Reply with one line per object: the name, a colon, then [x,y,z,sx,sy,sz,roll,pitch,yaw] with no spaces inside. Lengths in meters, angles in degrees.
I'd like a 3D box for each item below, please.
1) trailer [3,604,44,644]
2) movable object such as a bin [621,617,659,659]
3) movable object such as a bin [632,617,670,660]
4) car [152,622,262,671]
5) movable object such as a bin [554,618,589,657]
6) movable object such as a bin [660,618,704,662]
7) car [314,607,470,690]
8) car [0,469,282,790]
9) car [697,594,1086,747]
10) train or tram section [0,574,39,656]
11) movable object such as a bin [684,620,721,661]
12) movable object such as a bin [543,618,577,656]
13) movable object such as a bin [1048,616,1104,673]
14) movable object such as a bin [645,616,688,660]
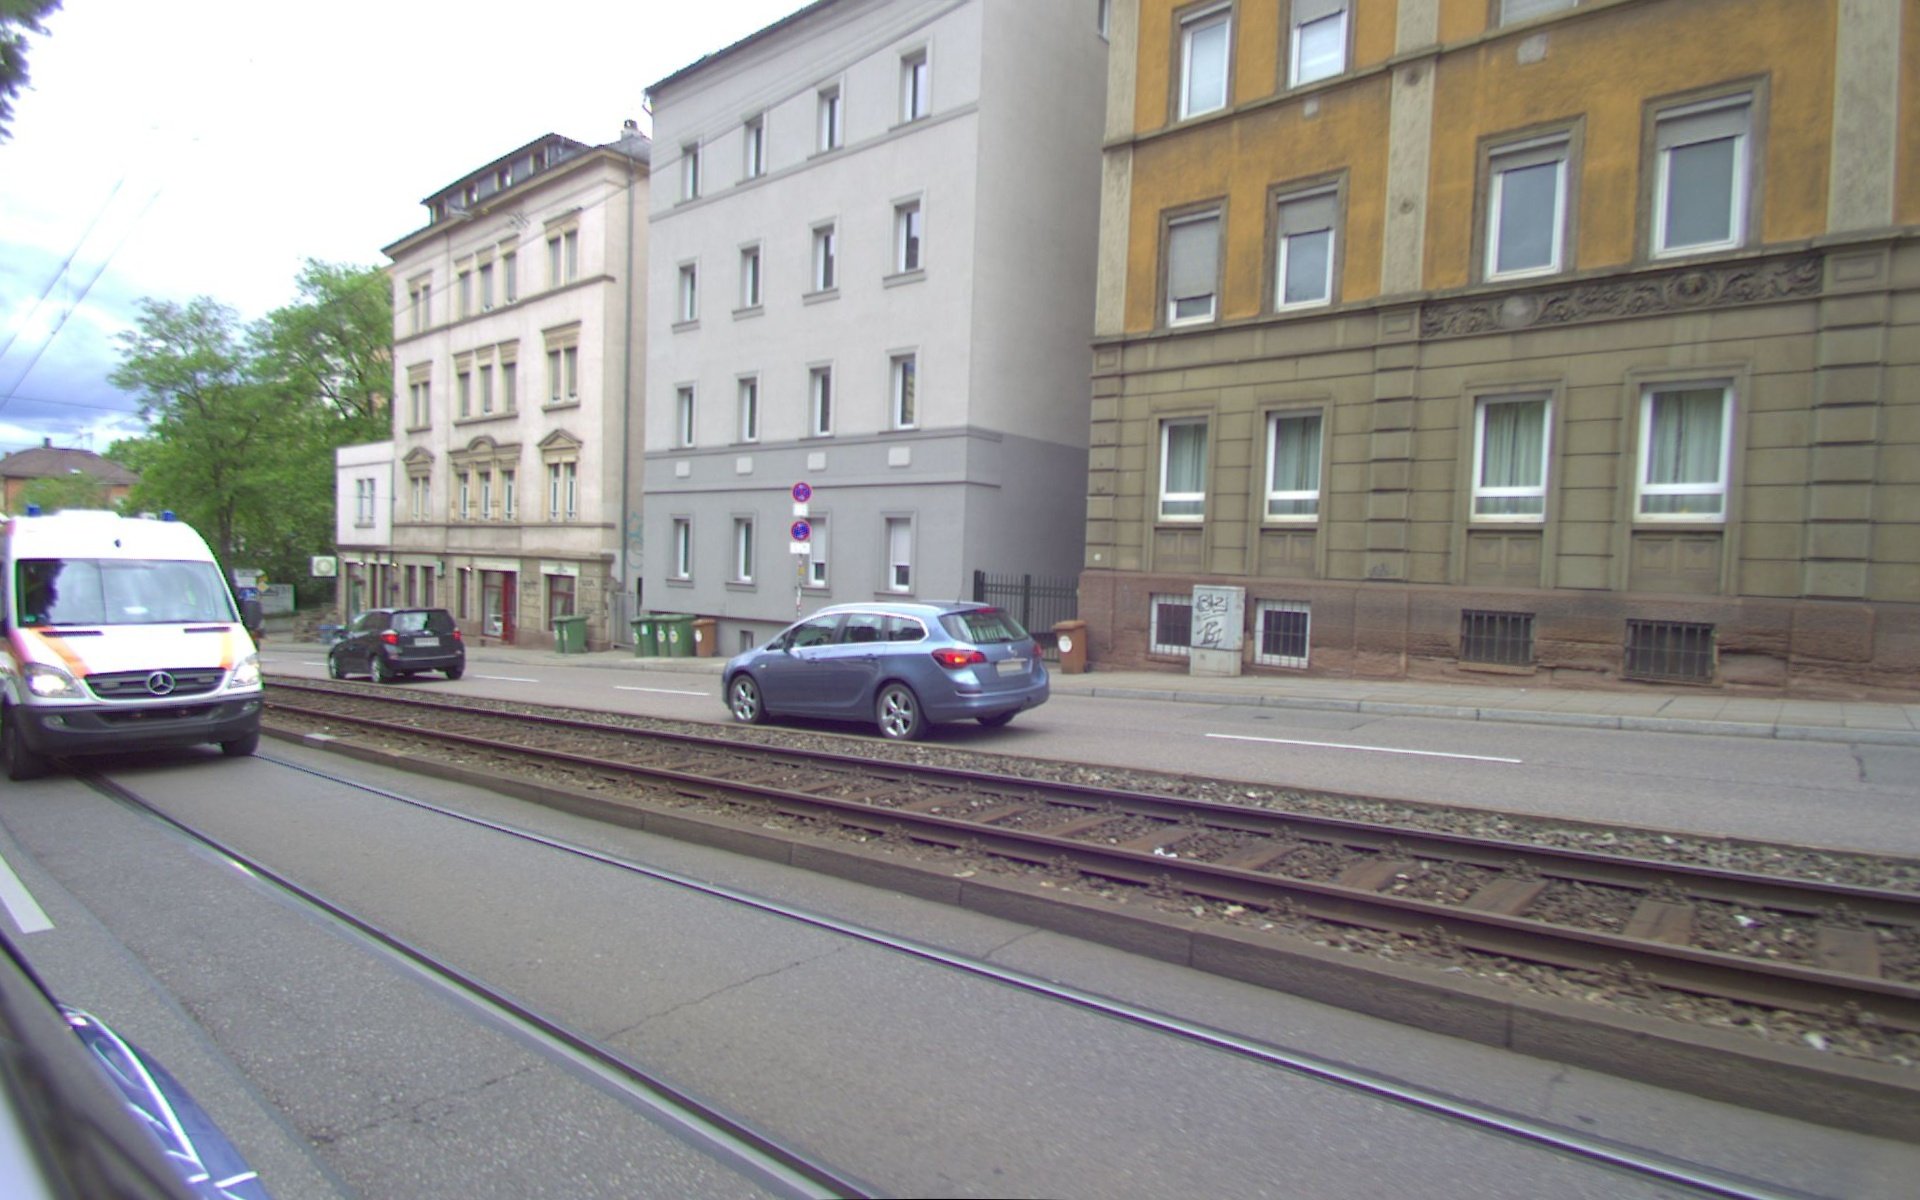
trailer: [-74.859,1.893,80.871,5.590,2.995,1.997,-2,1,43]
movable object such as a bin: [-8.449,0.998,26.732,0.671,1.082,0.720,-1,-1,41]
movable object such as a bin: [-8.006,0.987,26.244,0.606,1.082,0.735,-1,-1,41]
car: [-23.478,1.411,31.478,4.762,1.371,1.793,-1,-1,41]
movable object such as a bin: [-11.140,1.071,29.004,0.681,1.082,0.710,-1,-1,41]
movable object such as a bin: [-6.977,0.998,25.429,0.676,1.082,0.816,-1,-1,41]
car: [-12.374,0.995,21.949,3.967,1.608,1.725,-1,-1,41]
car: [-9.694,0.314,11.229,5.848,2.720,2.013,-2,-1,40]
car: [-0.973,0.715,11.952,4.659,1.466,1.824,-1,-1,41]
train or tram section: [-51.493,0.895,52.786,18.745,3.753,2.847,-2,1,41]
movable object such as a bin: [-6.362,0.987,24.994,0.676,0.992,0.616,-1,-1,41]
movable object such as a bin: [-11.650,1.083,29.509,0.676,1.082,0.680,-1,-1,41]
movable object such as a bin: [2.037,0.770,17.786,0.653,0.955,0.771,-1,-1,41]
movable object such as a bin: [-7.508,0.972,25.882,0.697,1.082,0.816,-1,-1,41]
